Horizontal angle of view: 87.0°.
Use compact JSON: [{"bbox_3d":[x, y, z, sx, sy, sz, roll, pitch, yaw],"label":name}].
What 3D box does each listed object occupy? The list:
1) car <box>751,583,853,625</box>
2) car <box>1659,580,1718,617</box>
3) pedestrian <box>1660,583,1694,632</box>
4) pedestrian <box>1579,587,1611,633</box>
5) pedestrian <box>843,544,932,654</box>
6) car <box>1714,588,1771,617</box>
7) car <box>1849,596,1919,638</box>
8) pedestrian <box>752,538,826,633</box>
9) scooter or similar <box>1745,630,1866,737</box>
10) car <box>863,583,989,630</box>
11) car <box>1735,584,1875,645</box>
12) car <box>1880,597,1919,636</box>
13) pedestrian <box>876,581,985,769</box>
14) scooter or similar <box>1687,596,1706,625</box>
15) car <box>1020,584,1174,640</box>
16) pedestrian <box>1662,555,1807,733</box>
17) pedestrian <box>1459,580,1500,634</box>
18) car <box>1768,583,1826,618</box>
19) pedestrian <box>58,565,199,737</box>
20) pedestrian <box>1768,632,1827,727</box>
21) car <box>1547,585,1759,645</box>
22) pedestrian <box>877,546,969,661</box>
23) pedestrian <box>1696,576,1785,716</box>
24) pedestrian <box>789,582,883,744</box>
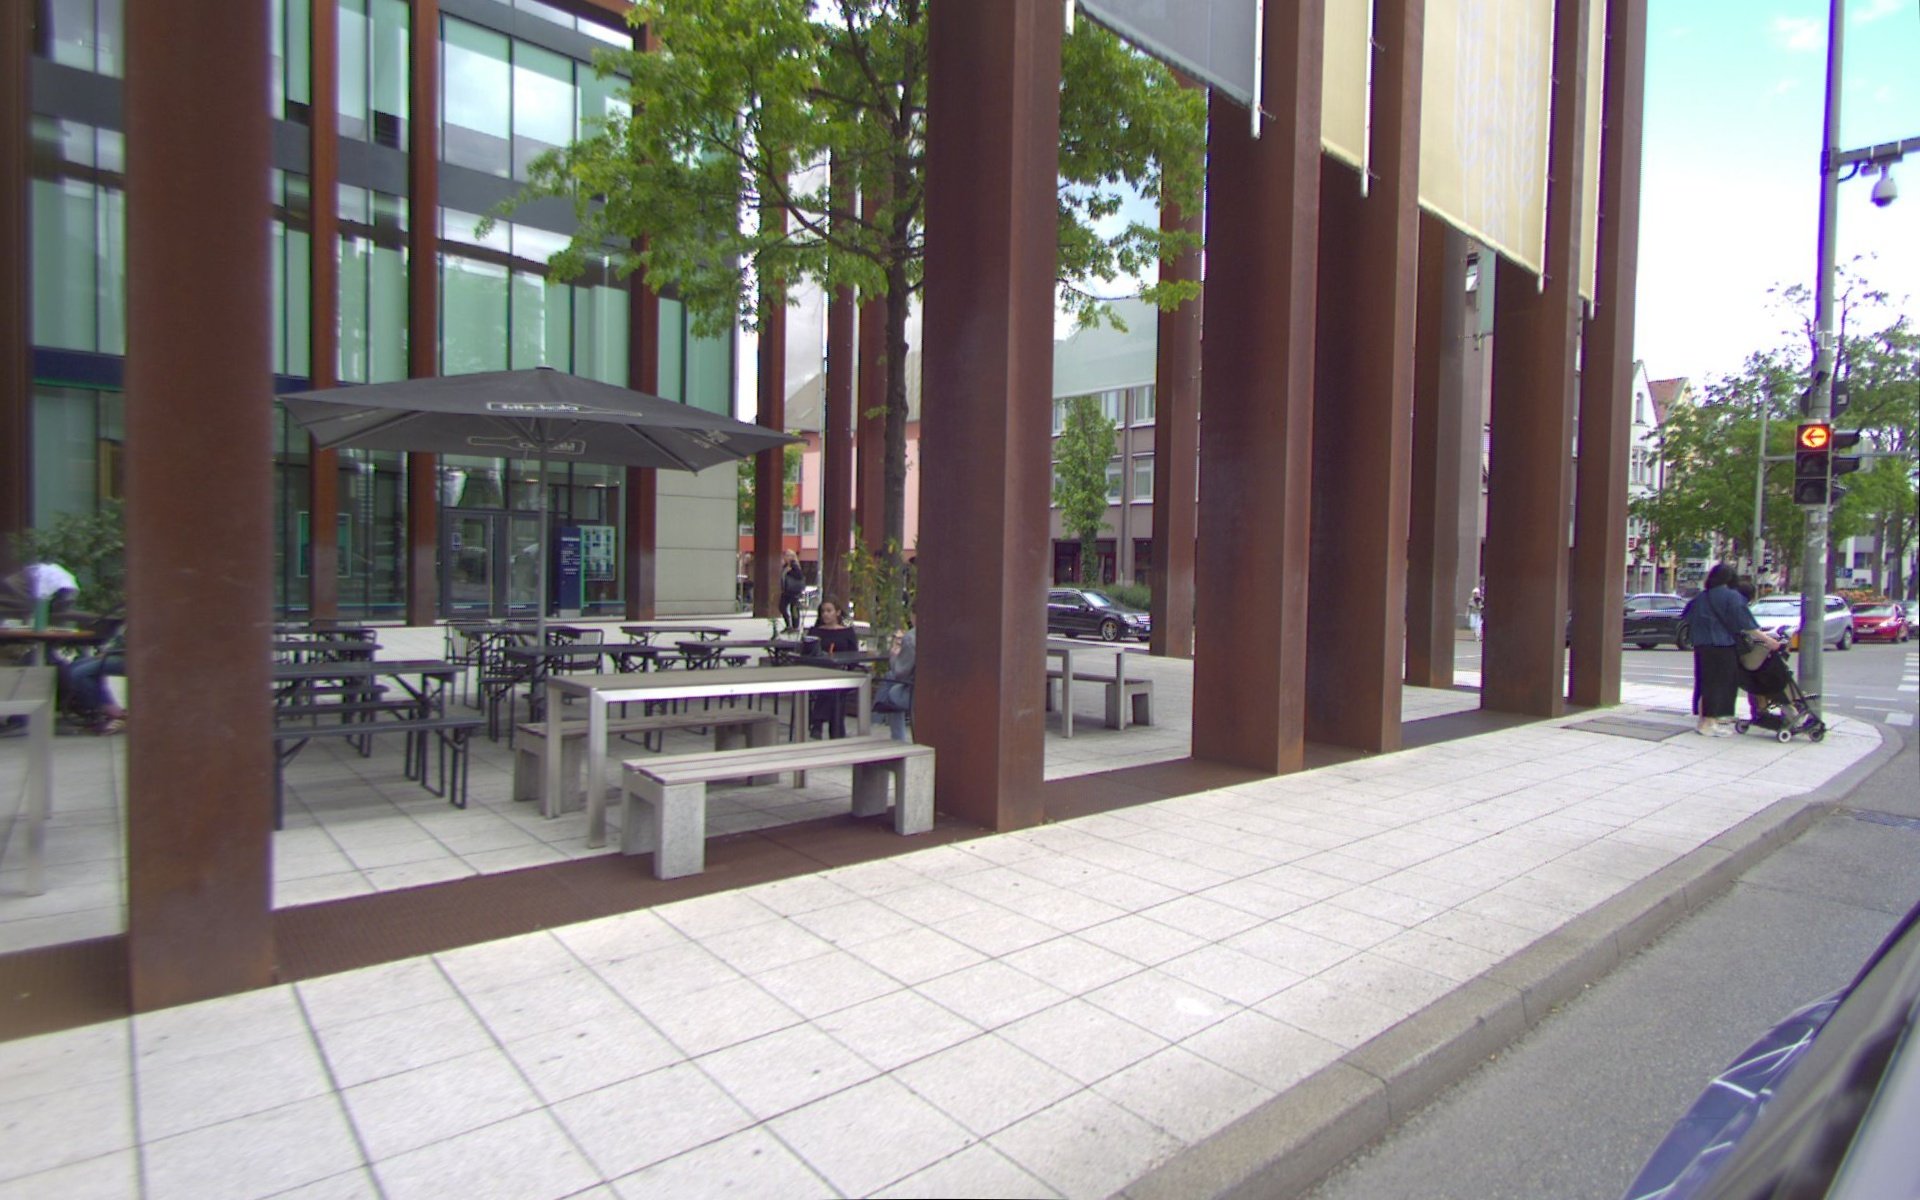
[{"bbox_3d":[-6.296,0.127,39.953,1.770,1.506,4.564,0,1,-42],"label":"car"},{"bbox_3d":[39.181,-0.100,54.371,4.189,1.826,1.737,0,3,-43],"label":"car"},{"bbox_3d":[24.721,0.260,34.877,0.938,1.646,0.742,0,2,-44],"label":"pedestrian"},{"bbox_3d":[23.061,0.350,36.743,0.938,1.646,0.742,0,2,-44],"label":"pedestrian"},{"bbox_3d":[-1.166,-0.030,16.365,1.101,1.702,0.880,0,2,-43],"label":"pedestrian"},{"bbox_3d":[47.481,0.106,61.366,4.675,1.566,1.996,-1,4,-44],"label":"car"},{"bbox_3d":[33.679,0.572,36.738,3.578,1.466,1.629,0,0,-41],"label":"car"},{"bbox_3d":[-3.347,-0.299,19.821,1.101,1.789,0.880,0,2,-43],"label":"pedestrian"},{"bbox_3d":[8.276,0.807,9.925,0.608,0.973,0.636,1,1,-7],"label":"scooter or similar"},{"bbox_3d":[-1.198,0.159,33.720,1.769,1.422,4.544,0,1,-40],"label":"car"},{"bbox_3d":[25.199,0.404,30.165,4.292,1.722,1.747,0,0,-29],"label":"car"},{"bbox_3d":[39.064,0.656,41.385,3.932,1.549,1.799,0,0,-42],"label":"car"},{"bbox_3d":[-0.205,0.489,7.044,0.595,1.235,0.449,0,1,-38],"label":"pedestrian"},{"bbox_3d":[30.578,0.432,42.028,0.468,1.100,1.866,2,3,32],"label":"scooter or similar"},{"bbox_3d":[3.798,0.287,28.616,1.770,1.422,4.178,0,1,-42],"label":"car"},{"bbox_3d":[7.582,0.406,9.942,0.666,1.667,0.874,1,1,-6],"label":"pedestrian"},{"bbox_3d":[16.503,0.215,32.131,1.075,1.646,0.809,0,2,-43],"label":"pedestrian"},{"bbox_3d":[49.113,-0.008,59.356,4.674,1.899,1.997,-1,4,-43],"label":"car"},{"bbox_3d":[-6.311,0.361,7.687,0.782,1.223,0.516,1,1,-42],"label":"pedestrian"},{"bbox_3d":[8.663,0.808,10.464,0.446,0.935,0.363,1,1,-38],"label":"pedestrian"},{"bbox_3d":[19.732,0.408,28.976,4.769,1.629,1.857,0,0,0],"label":"car"},{"bbox_3d":[-0.571,0.037,15.637,1.101,1.702,0.880,0,2,-43],"label":"pedestrian"},{"bbox_3d":[8.366,0.466,10.847,0.571,1.438,0.603,1,1,-38],"label":"pedestrian"},{"bbox_3d":[-0.994,0.481,8.118,0.595,1.235,0.449,0,1,-36],"label":"pedestrian"}]
